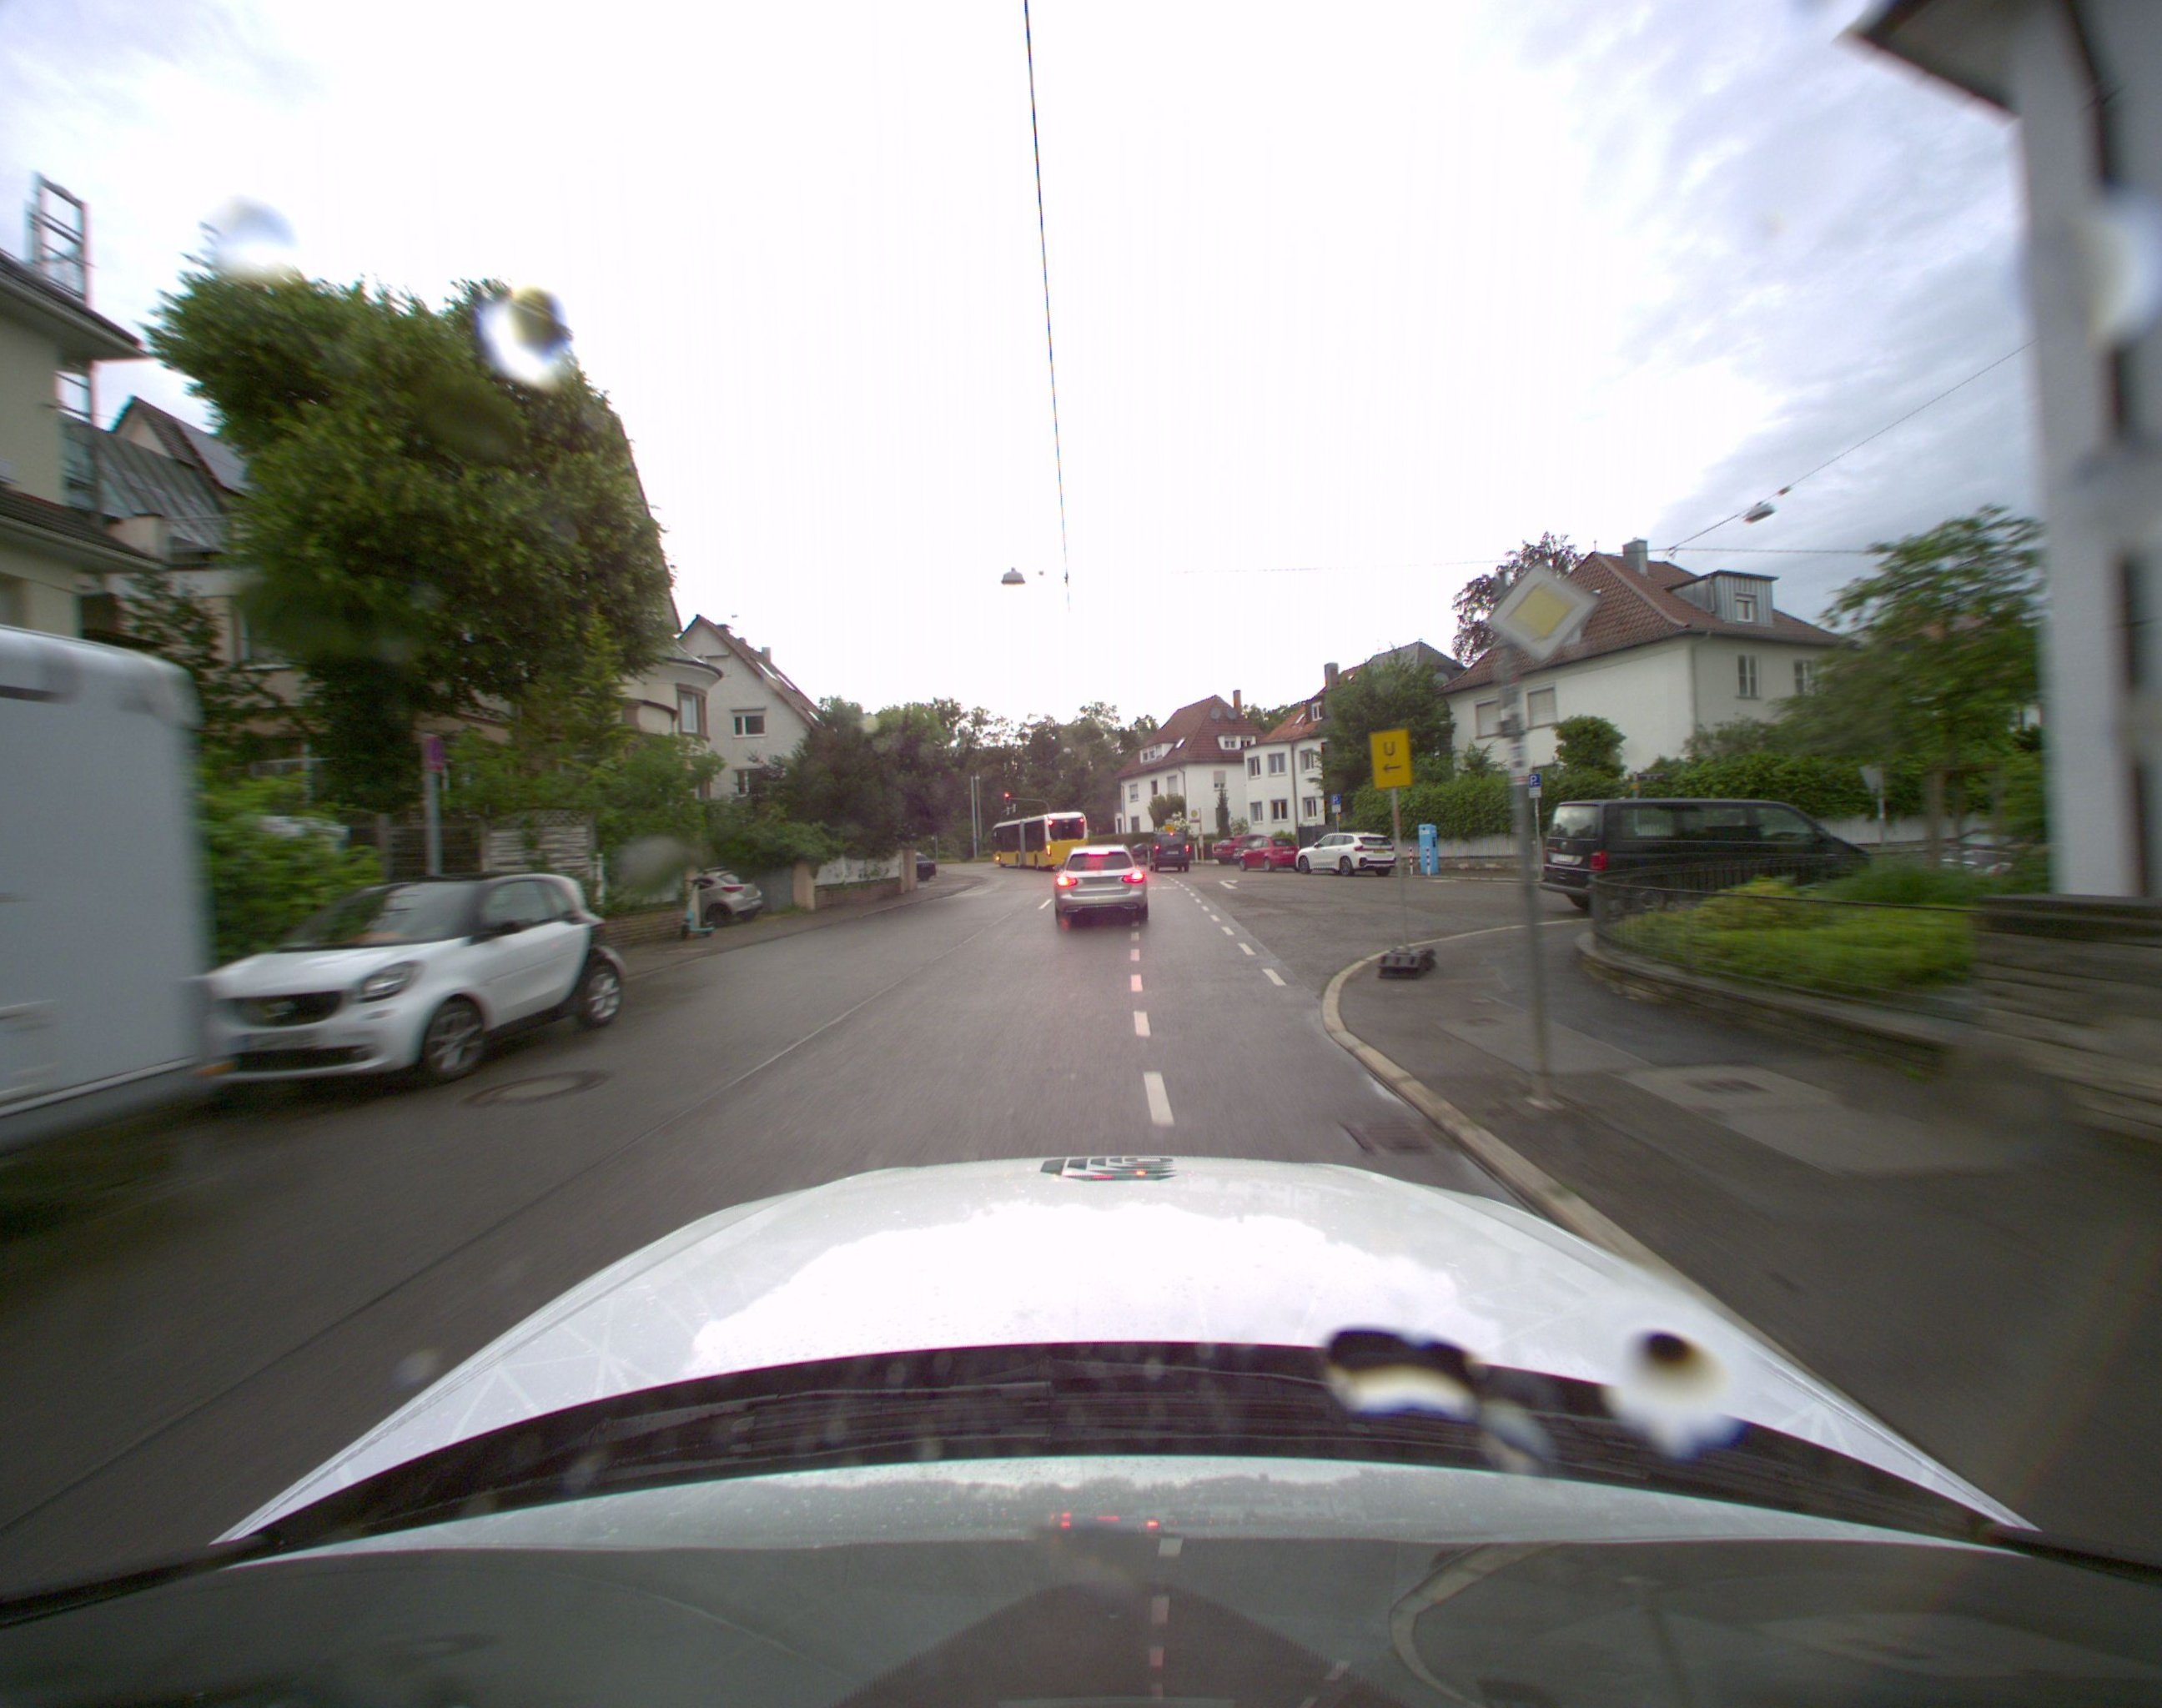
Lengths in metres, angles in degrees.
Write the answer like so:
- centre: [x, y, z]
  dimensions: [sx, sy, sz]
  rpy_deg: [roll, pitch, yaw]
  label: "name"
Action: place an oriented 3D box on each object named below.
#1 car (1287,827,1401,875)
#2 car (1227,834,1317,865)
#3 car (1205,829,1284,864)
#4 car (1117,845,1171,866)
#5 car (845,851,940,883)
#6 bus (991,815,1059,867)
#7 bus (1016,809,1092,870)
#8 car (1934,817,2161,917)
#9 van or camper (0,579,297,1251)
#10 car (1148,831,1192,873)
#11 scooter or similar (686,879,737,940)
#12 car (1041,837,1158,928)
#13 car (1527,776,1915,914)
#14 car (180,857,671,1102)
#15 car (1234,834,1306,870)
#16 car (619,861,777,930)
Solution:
- centre: [10.010, -0.133, 31.354]
  dimensions: [1.749, 1.672, 4.617]
  rpy_deg: [-1, 1, -19]
  label: "car"
- centre: [10.618, -0.248, 45.291]
  dimensions: [4.570, 1.416, 1.984]
  rpy_deg: [-4, 2, -25]
  label: "car"
- centre: [9.503, -0.449, 47.355]
  dimensions: [4.094, 1.750, 1.983]
  rpy_deg: [-4, 2, -25]
  label: "car"
- centre: [4.816, 0.100, 62.331]
  dimensions: [3.756, 1.388, 1.606]
  rpy_deg: [-3, 3, -20]
  label: "car"
- centre: [-9.628, 0.618, 42.020]
  dimensions: [1.780, 1.495, 4.713]
  rpy_deg: [0, 1, 37]
  label: "car"
- centre: [-4.273, -0.879, 59.634]
  dimensions: [2.907, 3.398, 8.989]
  rpy_deg: [-3, 1, -17]
  label: "bus"
- centre: [-1.864, -0.879, 51.102]
  dimensions: [2.682, 3.398, 8.634]
  rpy_deg: [-3, 1, -16]
  label: "bus"
- centre: [16.064, 0.170, 12.978]
  dimensions: [3.239, 1.440, 1.327]
  rpy_deg: [1, 5, 7]
  label: "car"
- centre: [-5.532, 0.283, 1.418]
  dimensions: [2.341, 2.725, 6.114]
  rpy_deg: [-3, 0, -1]
  label: "van or camper"
- centre: [4.214, -0.099, 39.060]
  dimensions: [1.801, 1.797, 4.003]
  rpy_deg: [-3, 0, 3]
  label: "car"
- centre: [-7.777, 1.147, 17.169]
  dimensions: [0.399, 1.188, 1.143]
  rpy_deg: [-1, 0, 7]
  label: "scooter or similar"
- centre: [0.350, 0.449, 16.584]
  dimensions: [1.987, 1.479, 4.487]
  rpy_deg: [-3, 2, 0]
  label: "car"
- centre: [10.610, -0.131, 13.854]
  dimensions: [4.883, 1.947, 1.943]
  rpy_deg: [-3, 0, 5]
  label: "car"
- centre: [-5.341, 0.865, 7.258]
  dimensions: [1.589, 1.594, 3.317]
  rpy_deg: [-3, 0, 0]
  label: "car"
- centre: [8.407, -0.103, 36.441]
  dimensions: [1.615, 1.537, 3.521]
  rpy_deg: [-1, 1, -16]
  label: "car"
- centre: [-10.416, 1.124, 22.222]
  dimensions: [3.552, 1.540, 1.718]
  rpy_deg: [-4, 3, 18]
  label: "car"
